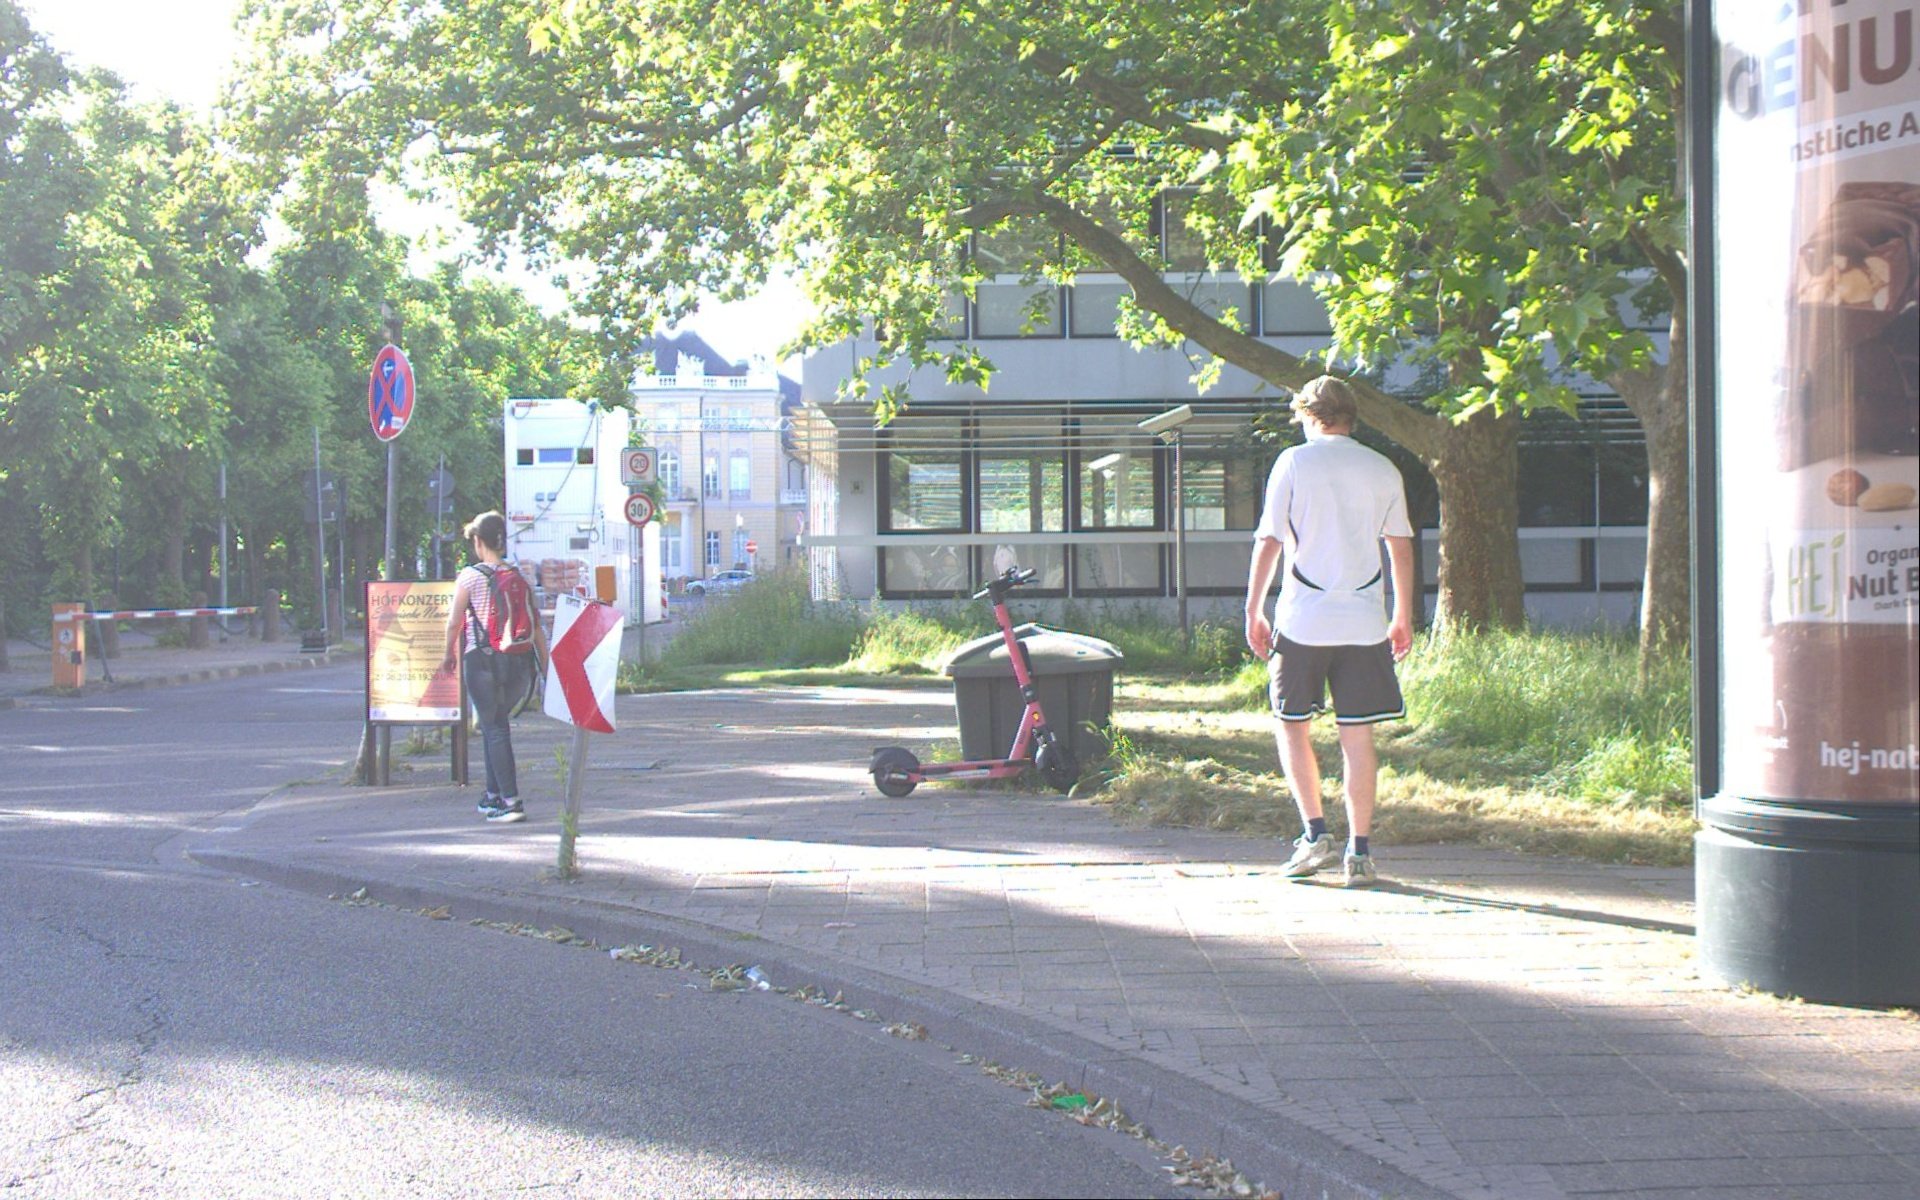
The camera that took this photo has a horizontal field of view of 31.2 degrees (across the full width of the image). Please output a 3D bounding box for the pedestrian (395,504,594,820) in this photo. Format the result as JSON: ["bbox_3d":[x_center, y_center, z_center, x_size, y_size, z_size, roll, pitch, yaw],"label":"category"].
[{"bbox_3d":[-2.463,0.314,18.157,0.708,1.618,0.939,0,0,-32],"label":"pedestrian"}]

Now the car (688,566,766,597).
[{"bbox_3d":[-13.908,-1.102,205.602,4.557,1.784,2.000,0,1,-1],"label":"car"}]

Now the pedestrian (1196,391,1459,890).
[{"bbox_3d":[1.381,0.143,13.106,0.745,1.807,1.134,1,0,-5],"label":"pedestrian"}]

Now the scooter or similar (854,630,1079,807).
[{"bbox_3d":[0.030,0.638,18.732,1.146,0.911,0.419,-2,0,-7],"label":"scooter or similar"}]
